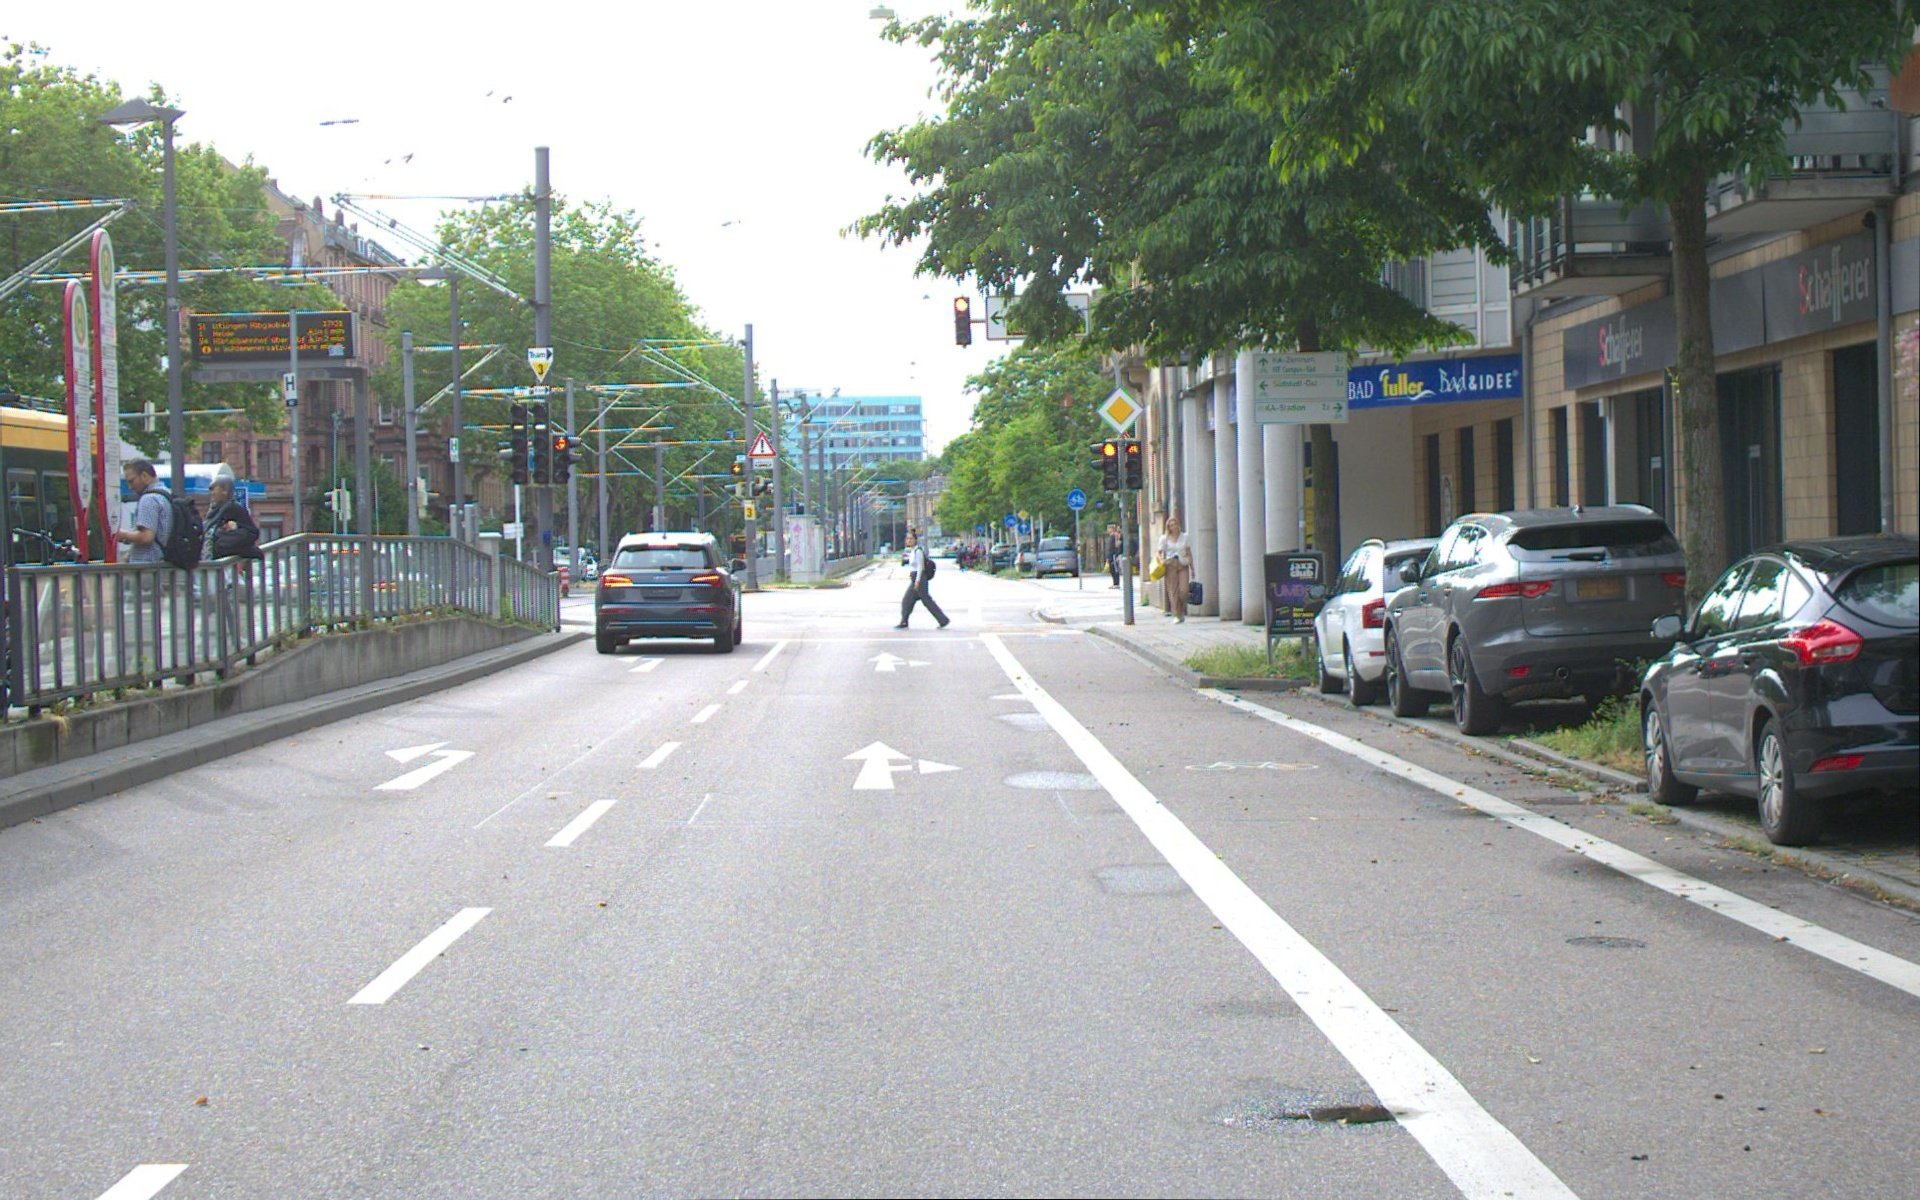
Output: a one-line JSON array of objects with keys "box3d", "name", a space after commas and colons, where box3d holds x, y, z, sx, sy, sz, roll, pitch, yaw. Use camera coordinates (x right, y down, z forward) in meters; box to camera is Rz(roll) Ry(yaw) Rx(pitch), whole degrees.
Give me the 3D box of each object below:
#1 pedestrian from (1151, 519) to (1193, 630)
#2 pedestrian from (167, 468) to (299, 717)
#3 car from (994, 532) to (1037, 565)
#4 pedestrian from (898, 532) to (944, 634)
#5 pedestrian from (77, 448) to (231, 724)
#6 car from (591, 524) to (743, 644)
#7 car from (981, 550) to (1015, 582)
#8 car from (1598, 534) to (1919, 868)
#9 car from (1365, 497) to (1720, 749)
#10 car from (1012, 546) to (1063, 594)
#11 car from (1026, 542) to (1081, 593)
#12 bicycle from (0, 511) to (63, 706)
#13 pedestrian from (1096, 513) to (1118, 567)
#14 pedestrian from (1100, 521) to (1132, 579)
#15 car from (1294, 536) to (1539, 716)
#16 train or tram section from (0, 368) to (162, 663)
[{"box3d": [3.487, -0.417, 56.665, 0.615, 1.799, 0.737, -1, 1, 1], "name": "pedestrian"}, {"box3d": [-5.975, -0.068, 28.237, 0.753, 2.007, 0.818, 0, 0, -38], "name": "pedestrian"}, {"box3d": [2.818, -2.645, 175.790, 1.993, 1.602, 4.164, -2, 1, -1], "name": "car"}, {"box3d": [-0.647, -0.278, 56.701, 0.728, 1.656, 0.756, 1, 0, -1], "name": "pedestrian"}, {"box3d": [-5.973, -0.111, 25.504, 0.753, 2.007, 0.817, 1, 0, 22], "name": "pedestrian"}, {"box3d": [-4.050, -0.239, 48.112, 1.880, 1.596, 4.358, 0, 1, -2], "name": "car"}, {"box3d": [2.429, -2.150, 219.757, 1.993, 2.007, 4.000, 1, 1, -1], "name": "car"}, {"box3d": [4.530, 0.411, 17.555, 1.676, 1.437, 4.408, -3, 1, 0], "name": "car"}, {"box3d": [4.438, 0.141, 26.913, 1.711, 1.711, 4.712, -3, 1, -2], "name": "car"}, {"box3d": [3.307, -1.297, 146.985, 1.993, 2.007, 4.000, 1, 1, -1], "name": "car"}, {"box3d": [3.741, -1.306, 137.552, 1.993, 2.007, 4.000, 1, 1, -1], "name": "car"}, {"box3d": [-6.142, 0.045, 22.104, 0.419, 1.218, 1.290, 1, 0, -1], "name": "bicycle"}, {"box3d": [4.275, -1.741, 99.933, 0.545, 1.531, 0.466, 1, 0, -5], "name": "pedestrian"}, {"box3d": [4.426, -1.420, 97.655, 0.850, 1.648, 0.508, 1, 0, -3], "name": "pedestrian"}, {"box3d": [4.231, 0.204, 32.466, 1.676, 1.494, 4.390, -3, 1, 0], "name": "car"}, {"box3d": [-13.206, -1.056, 42.816, 3.060, 3.576, 15.850, 1, 1, -1], "name": "train or tram section"}]
